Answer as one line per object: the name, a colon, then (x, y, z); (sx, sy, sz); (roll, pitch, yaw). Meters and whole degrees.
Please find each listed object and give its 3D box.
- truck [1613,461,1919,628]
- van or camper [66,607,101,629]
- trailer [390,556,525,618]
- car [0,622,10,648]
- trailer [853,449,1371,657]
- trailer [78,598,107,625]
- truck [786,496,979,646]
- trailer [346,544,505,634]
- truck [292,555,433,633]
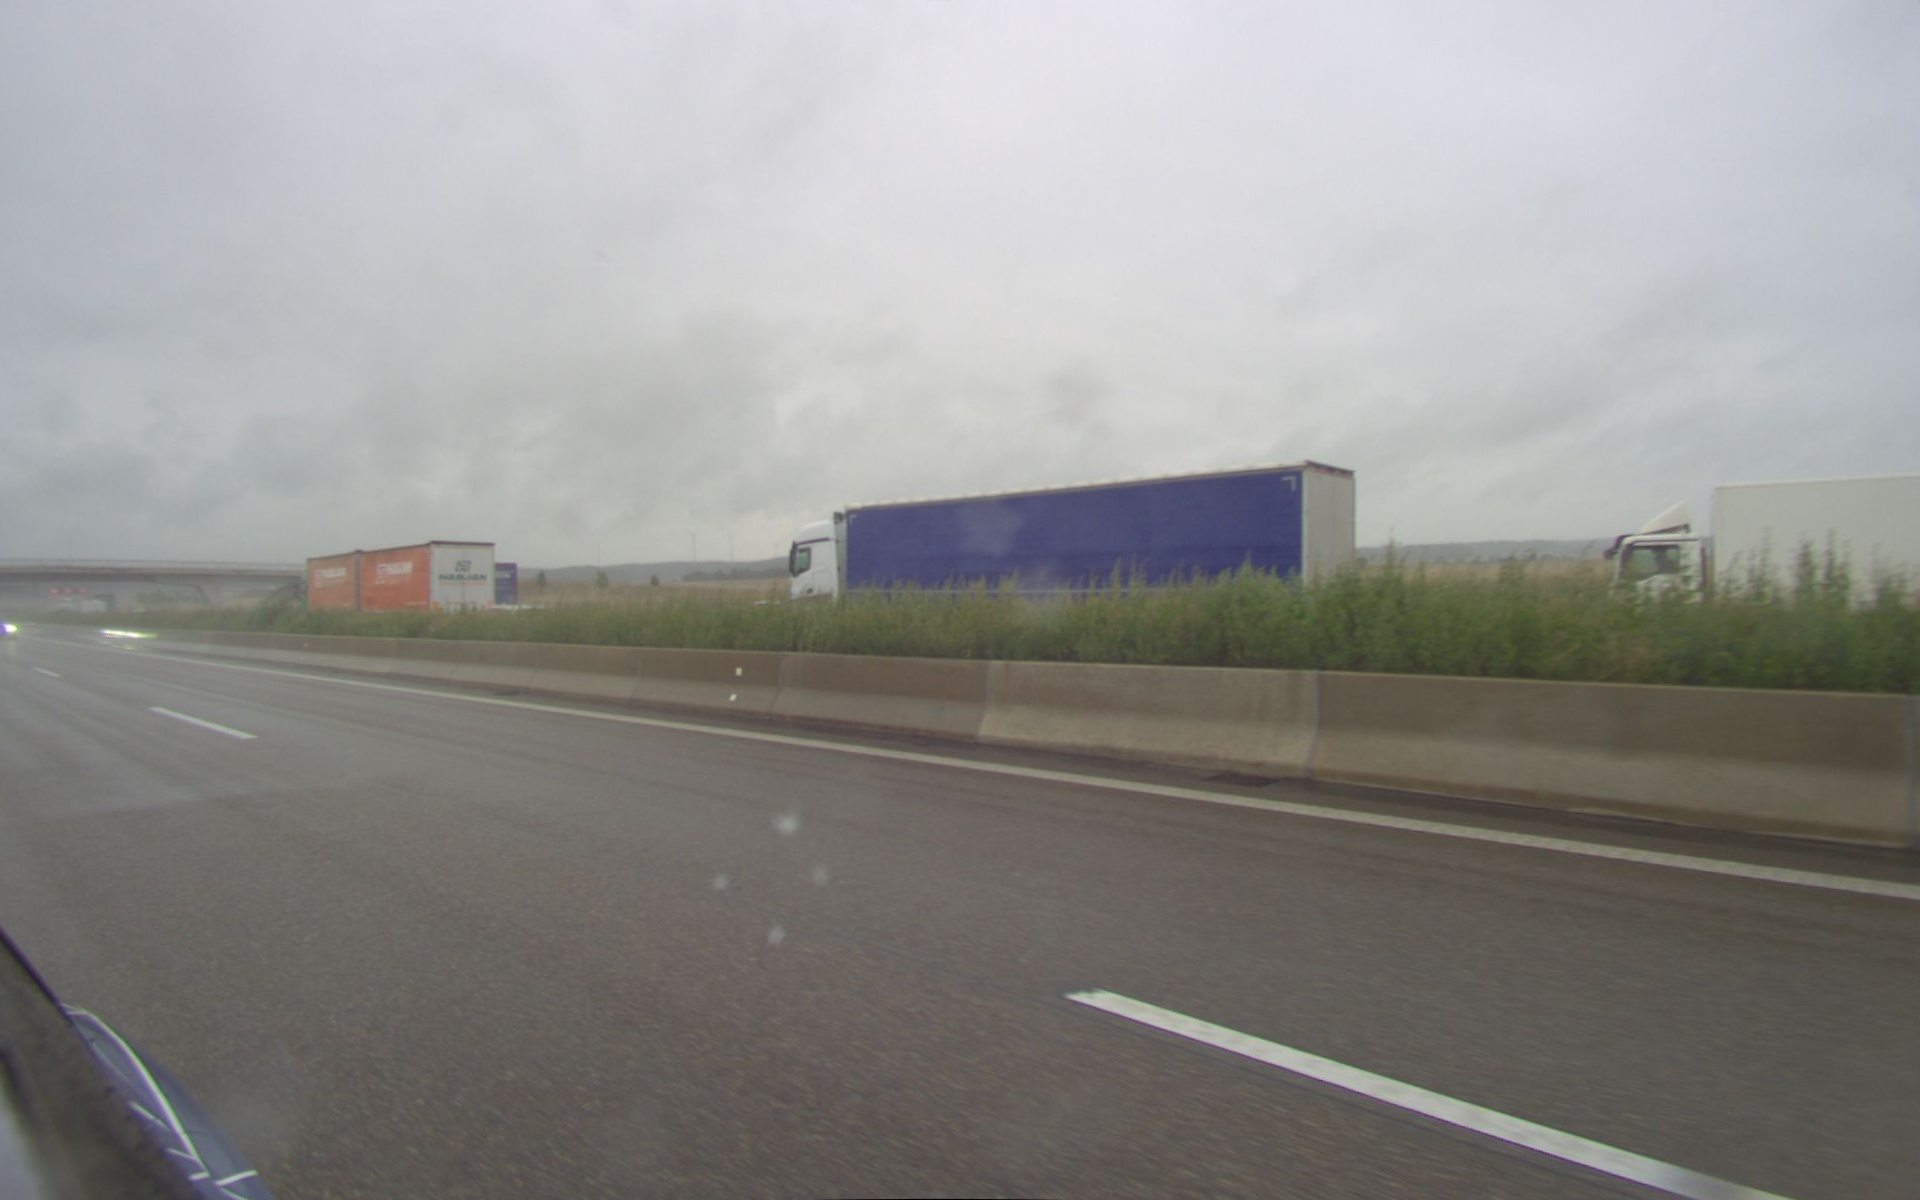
truck: (17.364, -0.991, 19.179); (8.264, 2.930, 2.795); (-1, 0, 36)
van or camper: (-107.562, 2.217, 124.148); (6.755, 2.527, 2.348); (-2, 0, 42)
trailer: (-31.554, -0.649, 63.018); (14.240, 3.444, 3.079); (-1, -1, 45)
car: (-59.820, 2.150, 62.298); (3.733, 1.563, 1.678); (-1, 0, 43)
trailer: (2.770, -0.816, 24.767); (13.490, 3.969, 2.410); (-1, 0, 43)
trailer: (-135.343, 1.863, 157.802); (14.211, 4.027, 2.199); (-1, 0, 44)
truck: (-2.365, -0.731, 29.547); (5.609, 3.956, 2.459); (-1, 0, 43)
trailer: (-23.369, -0.361, 43.945); (9.443, 3.482, 3.221); (-1, -1, 43)
truck: (-29.405, -0.204, 49.551); (10.129, 3.467, 3.230); (-1, -1, 43)
